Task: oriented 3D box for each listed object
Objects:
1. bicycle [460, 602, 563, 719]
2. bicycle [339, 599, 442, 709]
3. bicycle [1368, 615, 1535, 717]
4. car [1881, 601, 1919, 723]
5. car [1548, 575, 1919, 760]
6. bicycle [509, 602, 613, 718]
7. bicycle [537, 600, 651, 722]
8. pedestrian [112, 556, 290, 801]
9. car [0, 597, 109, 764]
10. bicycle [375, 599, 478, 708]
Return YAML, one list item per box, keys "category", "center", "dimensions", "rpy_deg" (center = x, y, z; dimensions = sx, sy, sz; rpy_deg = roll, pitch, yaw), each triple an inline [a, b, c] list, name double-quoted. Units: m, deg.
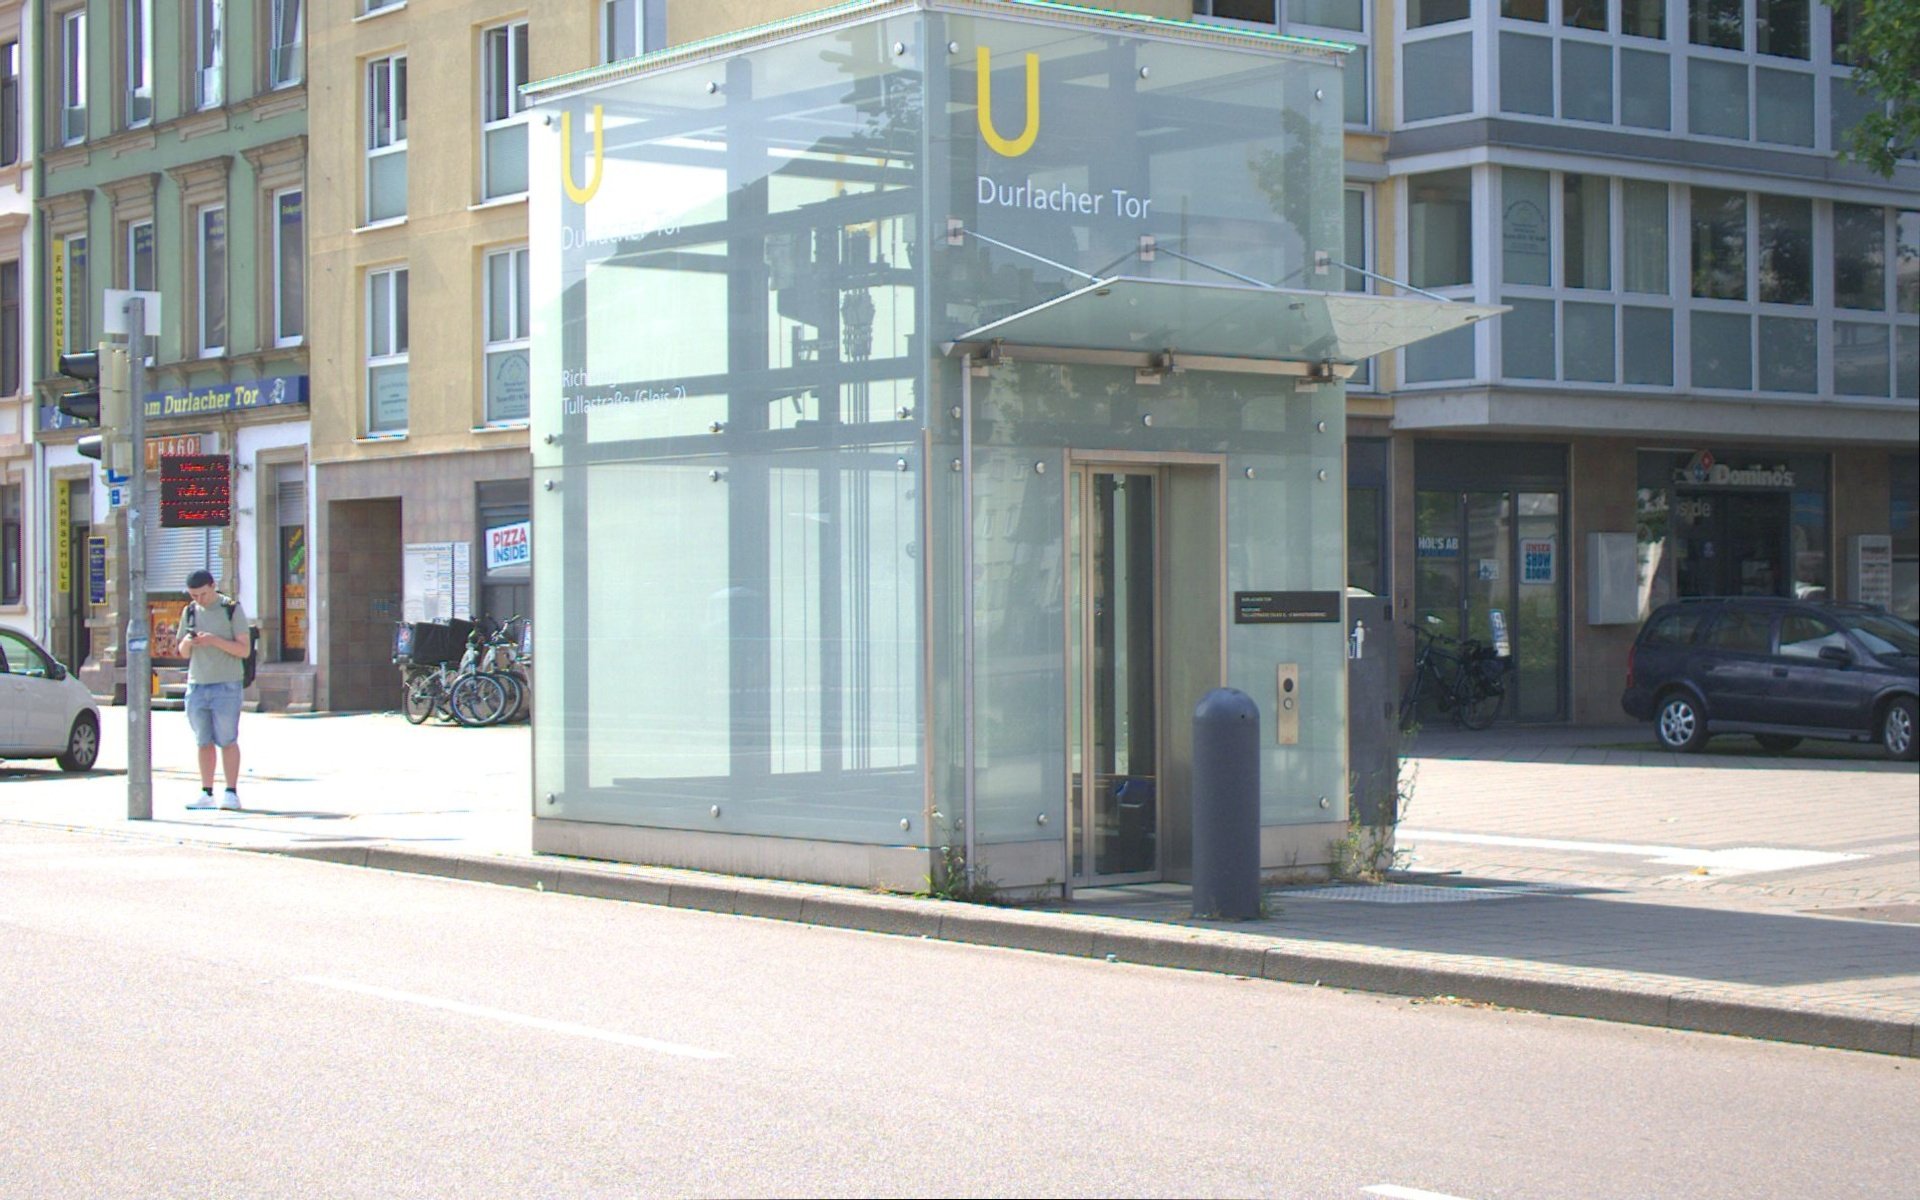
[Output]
- category: "bicycle"
  center: [-5.127, 0.679, 39.258]
  dimensions: [0.486, 1.197, 1.645]
  rpy_deg: [-3, 5, -33]
- category: "bicycle"
  center: [-6.853, 0.641, 41.345]
  dimensions: [0.486, 1.197, 1.645]
  rpy_deg: [-3, 5, -37]
- category: "bicycle"
  center: [5.155, 0.677, 36.042]
  dimensions: [1.775, 1.016, 0.682]
  rpy_deg: [-1, 0, -37]
- category: "car"
  center: [11.985, 0.650, 36.678]
  dimensions: [1.581, 1.322, 3.999]
  rpy_deg: [0, -1, -38]
- category: "car"
  center: [7.896, 0.579, 32.476]
  dimensions: [1.994, 1.579, 4.391]
  rpy_deg: [0, 1, -39]
- category: "bicycle"
  center: [-4.580, 0.672, 39.413]
  dimensions: [0.486, 1.197, 1.645]
  rpy_deg: [-3, 5, -33]
- category: "bicycle"
  center: [-4.022, 0.652, 37.684]
  dimensions: [0.547, 1.197, 1.645]
  rpy_deg: [-3, 5, -33]
- category: "pedestrian"
  center: [-5.580, 0.561, 25.306]
  dimensions: [0.784, 1.753, 0.994]
  rpy_deg: [-1, 0, 29]
- category: "car"
  center: [-9.562, 0.755, 32.243]
  dimensions: [1.715, 1.435, 3.511]
  rpy_deg: [1, 2, 12]
- category: "bicycle"
  center: [-6.476, 0.639, 41.695]
  dimensions: [0.486, 1.197, 1.645]
  rpy_deg: [-3, 5, -37]
